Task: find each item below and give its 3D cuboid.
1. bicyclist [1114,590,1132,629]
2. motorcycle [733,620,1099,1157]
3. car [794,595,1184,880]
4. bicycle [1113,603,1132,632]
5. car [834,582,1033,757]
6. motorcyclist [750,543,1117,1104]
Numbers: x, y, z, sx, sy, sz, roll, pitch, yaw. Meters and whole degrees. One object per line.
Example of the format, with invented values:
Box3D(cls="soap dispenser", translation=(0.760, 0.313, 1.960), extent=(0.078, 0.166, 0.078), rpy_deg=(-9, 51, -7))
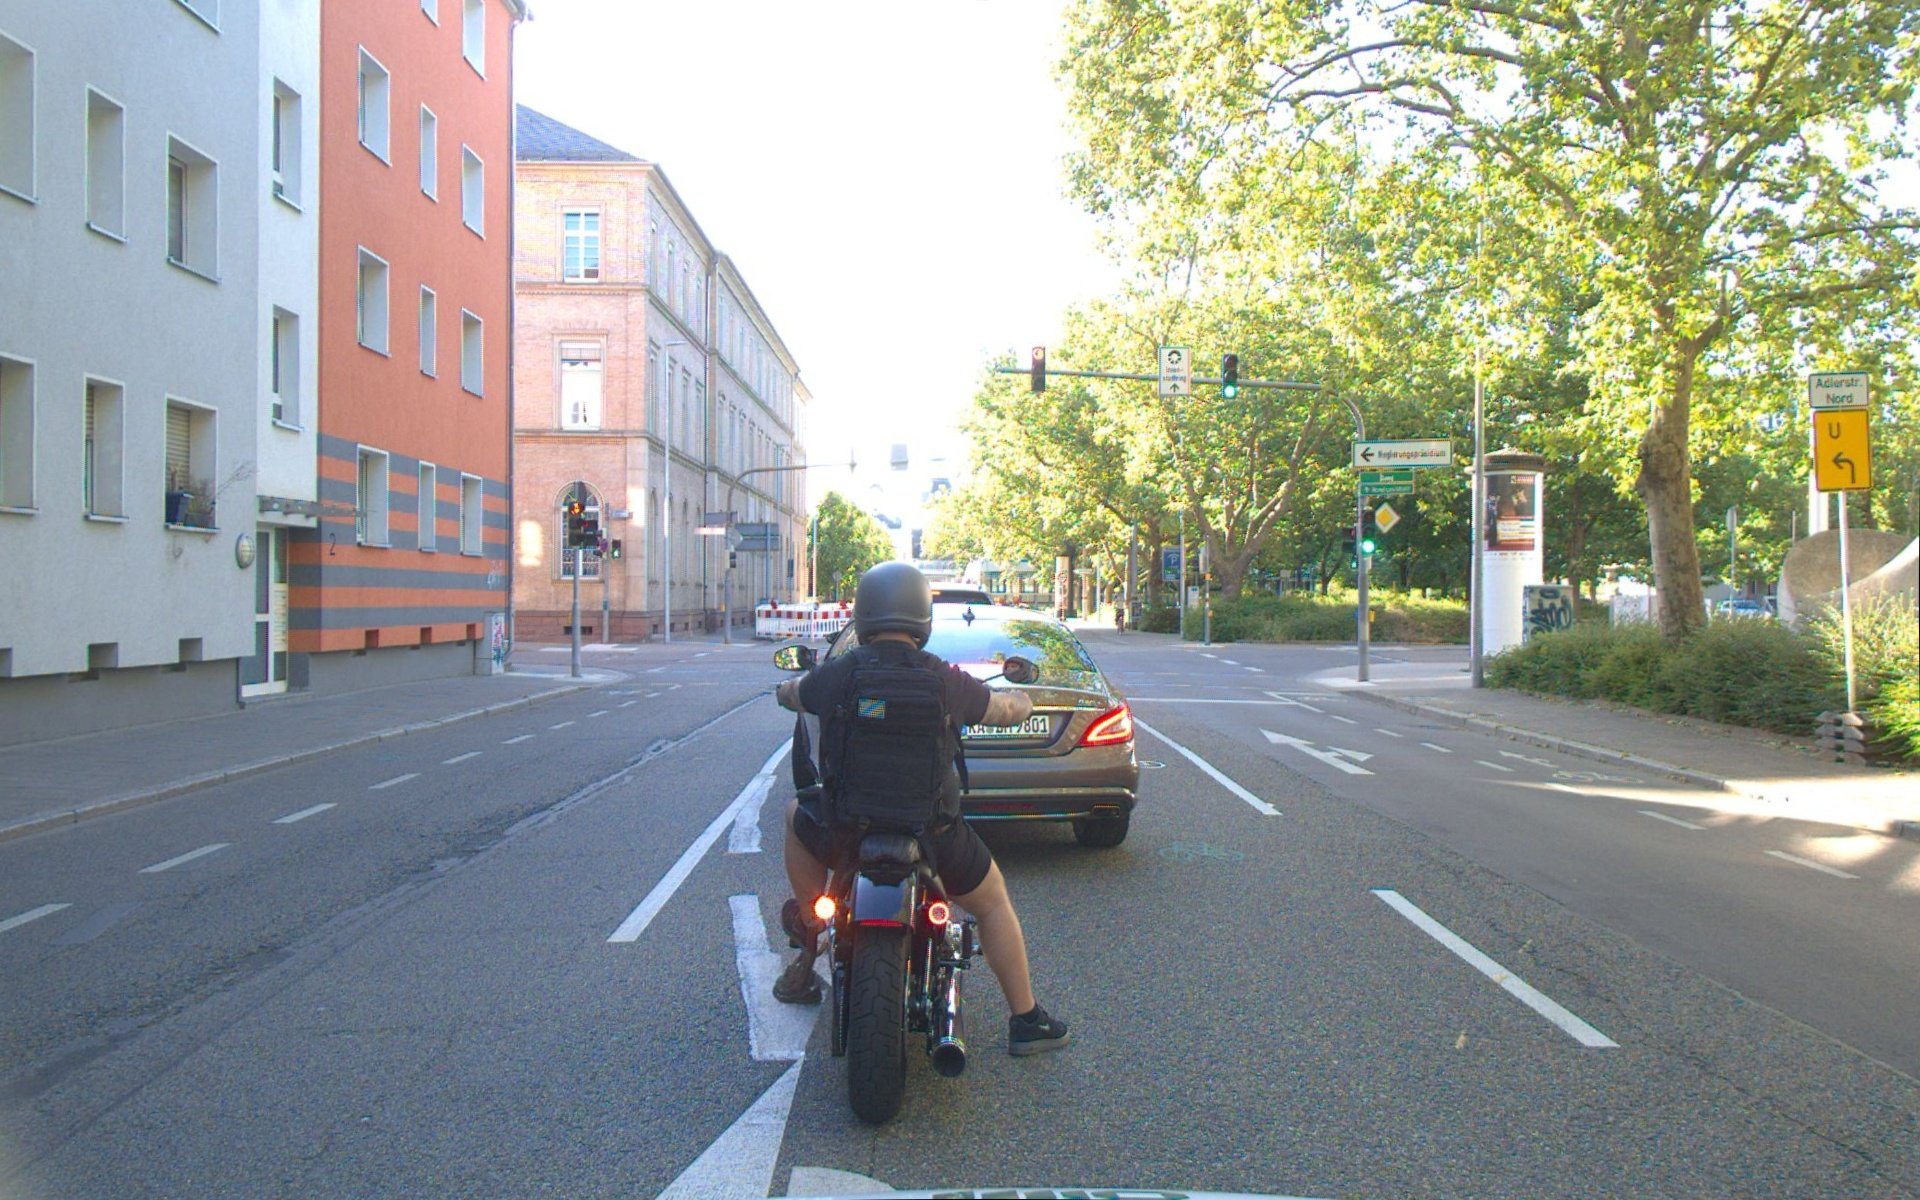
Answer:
Box3D(cls="bicyclist", translation=(6.763, 0.407, 68.760), extent=(0.701, 1.610, 0.936), rpy_deg=(1, 0, 3))
Box3D(cls="motorcycle", translation=(-0.131, 0.776, 5.519), extent=(0.942, 1.380, 2.319), rpy_deg=(1, 0, -1))
Box3D(cls="car", translation=(-0.039, 0.703, 10.793), extent=(1.867, 1.466, 4.280), rpy_deg=(0, 0, -9))
Box3D(cls="bicycle", translation=(6.764, 0.733, 68.854), extent=(0.701, 1.193, 2.177), rpy_deg=(1, 0, 3))
Box3D(cls="car", translation=(-0.345, 0.610, 16.749), extent=(1.777, 1.563, 3.846), rpy_deg=(0, 0, -3))
Box3D(cls="motorcyclist", translation=(-0.081, 0.651, 5.250), extent=(1.039, 1.610, 0.908), rpy_deg=(1, 0, -1))
